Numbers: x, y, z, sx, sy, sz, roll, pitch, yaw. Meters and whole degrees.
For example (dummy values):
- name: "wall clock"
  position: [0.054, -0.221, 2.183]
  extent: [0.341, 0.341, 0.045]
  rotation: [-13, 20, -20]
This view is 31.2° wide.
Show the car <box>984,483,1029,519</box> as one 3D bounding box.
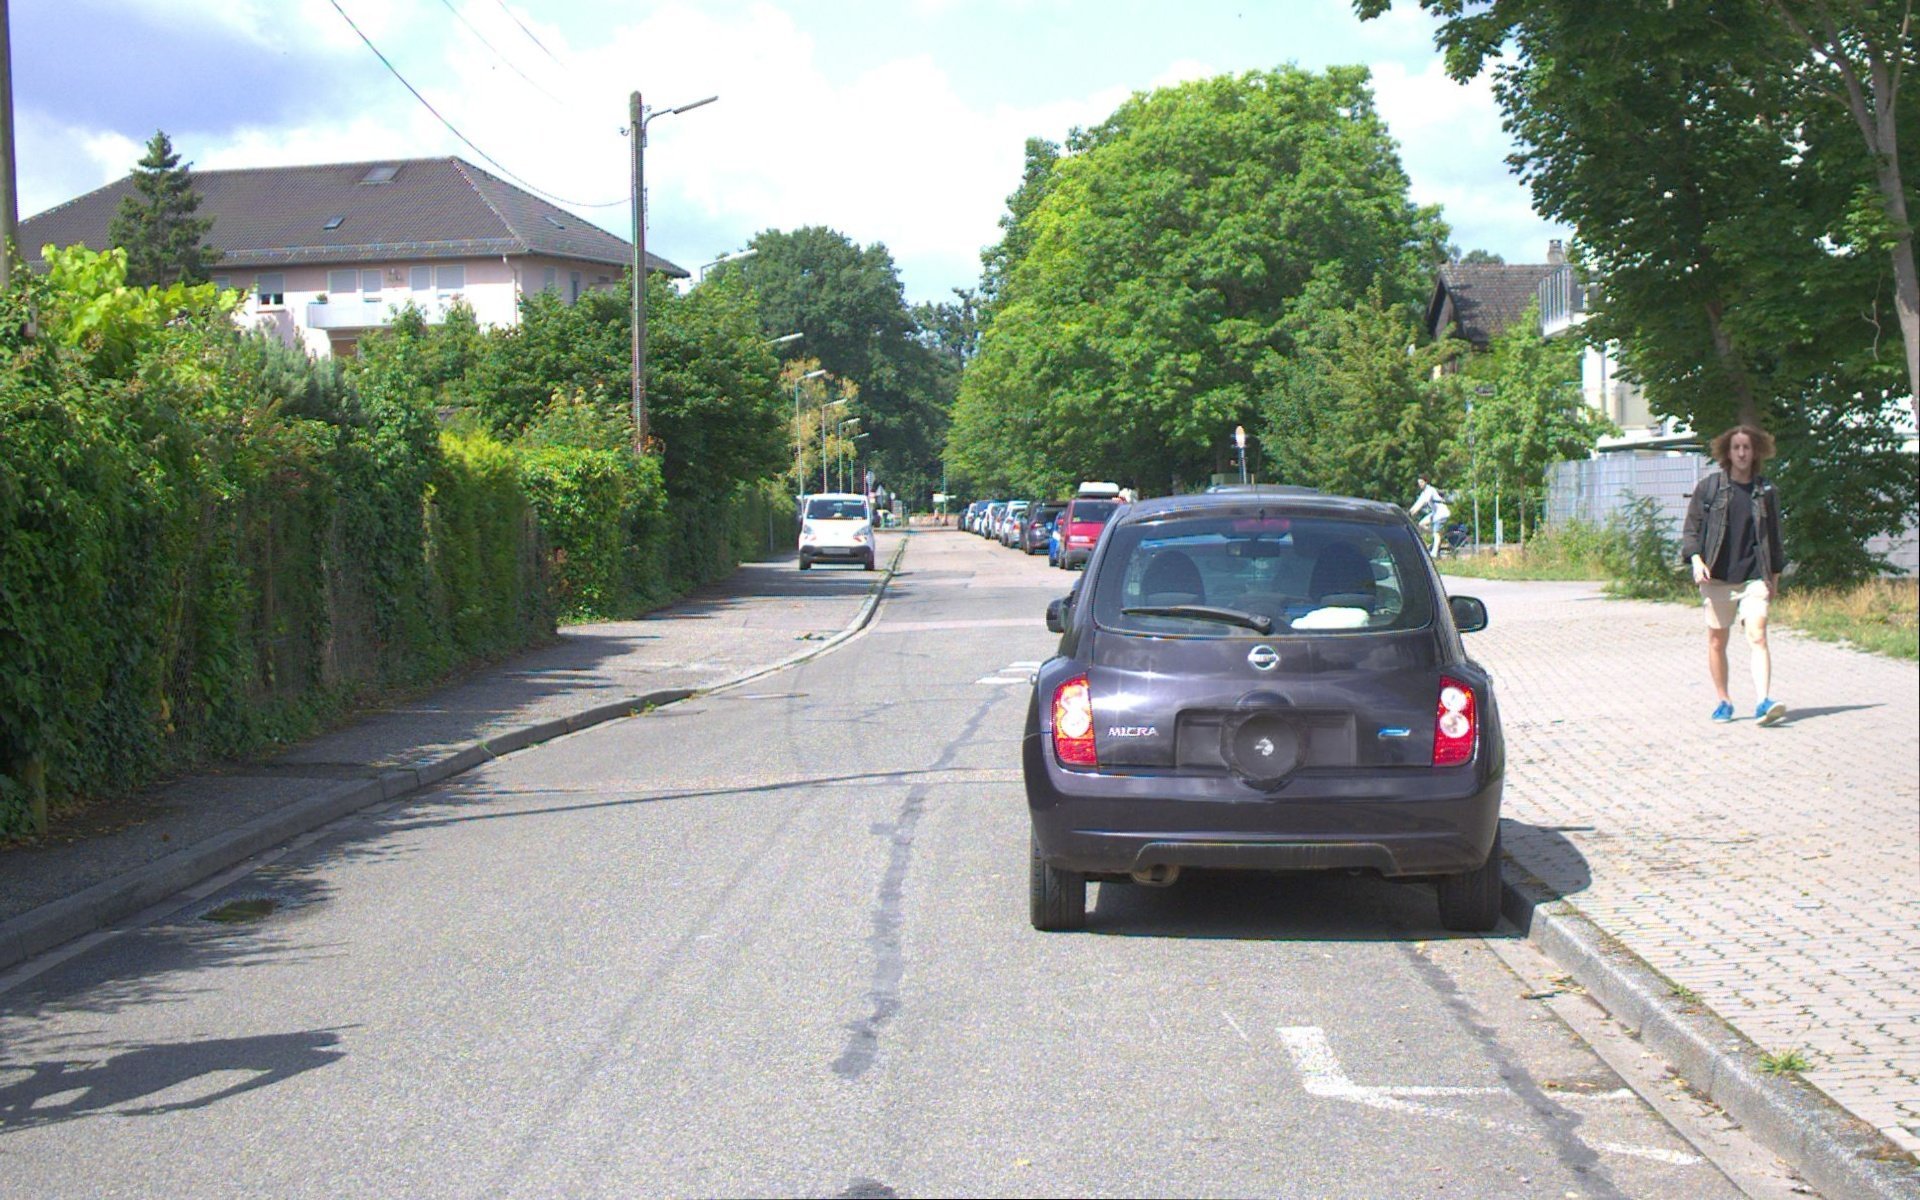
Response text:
- name: "car"
  position: [2.199, -4.611, 160.764]
  extent: [1.852, 1.612, 4.000]
  rotation: [-1, 1, 4]

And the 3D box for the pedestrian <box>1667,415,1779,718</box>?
- name: "pedestrian"
  position: [4.479, -0.204, 20.171]
  extent: [0.610, 1.739, 0.721]
  rotation: [1, 1, 13]

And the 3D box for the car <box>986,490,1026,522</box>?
- name: "car"
  position: [2.372, -4.790, 175.853]
  extent: [1.852, 1.612, 4.000]
  rotation: [1, 1, 4]

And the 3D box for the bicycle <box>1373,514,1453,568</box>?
- name: "bicycle"
  position: [8.768, -1.141, 66.505]
  extent: [0.860, 1.023, 1.817]
  rotation: [1, 2, 32]

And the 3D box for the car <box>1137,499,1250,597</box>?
- name: "car"
  position: [3.765, -0.867, 55.928]
  extent: [1.679, 1.514, 4.000]
  rotation: [0, 1, 2]

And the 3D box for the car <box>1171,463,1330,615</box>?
- name: "car"
  position: [3.585, -0.766, 42.686]
  extent: [1.874, 1.800, 3.432]
  rotation: [1, 1, 4]

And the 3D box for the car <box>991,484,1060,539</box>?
- name: "car"
  position: [2.038, -2.737, 106.094]
  extent: [2.058, 1.646, 4.541]
  rotation: [0, 1, 2]

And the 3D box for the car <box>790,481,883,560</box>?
- name: "car"
  position: [-2.902, -1.878, 81.504]
  extent: [1.903, 1.808, 4.000]
  rotation: [0, 1, 2]

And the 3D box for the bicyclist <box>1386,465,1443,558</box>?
- name: "bicyclist"
  position: [8.789, -1.708, 66.456]
  extent: [0.786, 1.779, 0.892]
  rotation: [1, 1, 32]

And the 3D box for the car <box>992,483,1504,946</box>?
- name: "car"
  position: [1.083, 0.325, 13.288]
  extent: [1.663, 1.500, 4.000]
  rotation: [1, 1, 4]

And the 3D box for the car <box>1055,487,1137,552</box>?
- name: "car"
  position: [3.514, -2.093, 89.491]
  extent: [2.058, 1.646, 4.541]
  rotation: [0, 1, 2]

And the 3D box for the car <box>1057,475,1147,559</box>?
- name: "car"
  position: [3.350, -1.978, 81.452]
  extent: [2.058, 1.919, 4.541]
  rotation: [0, 1, 2]

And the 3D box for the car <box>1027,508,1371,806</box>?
- name: "car"
  position: [1.311, 0.226, 18.864]
  extent: [1.663, 1.435, 4.206]
  rotation: [1, 1, 4]

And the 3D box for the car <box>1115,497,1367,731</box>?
- name: "car"
  position: [2.080, 0.051, 24.781]
  extent: [1.664, 1.547, 3.636]
  rotation: [1, 1, 7]

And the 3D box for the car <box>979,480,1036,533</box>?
- name: "car"
  position: [1.822, -3.550, 131.149]
  extent: [2.058, 1.955, 4.541]
  rotation: [0, 1, 2]
